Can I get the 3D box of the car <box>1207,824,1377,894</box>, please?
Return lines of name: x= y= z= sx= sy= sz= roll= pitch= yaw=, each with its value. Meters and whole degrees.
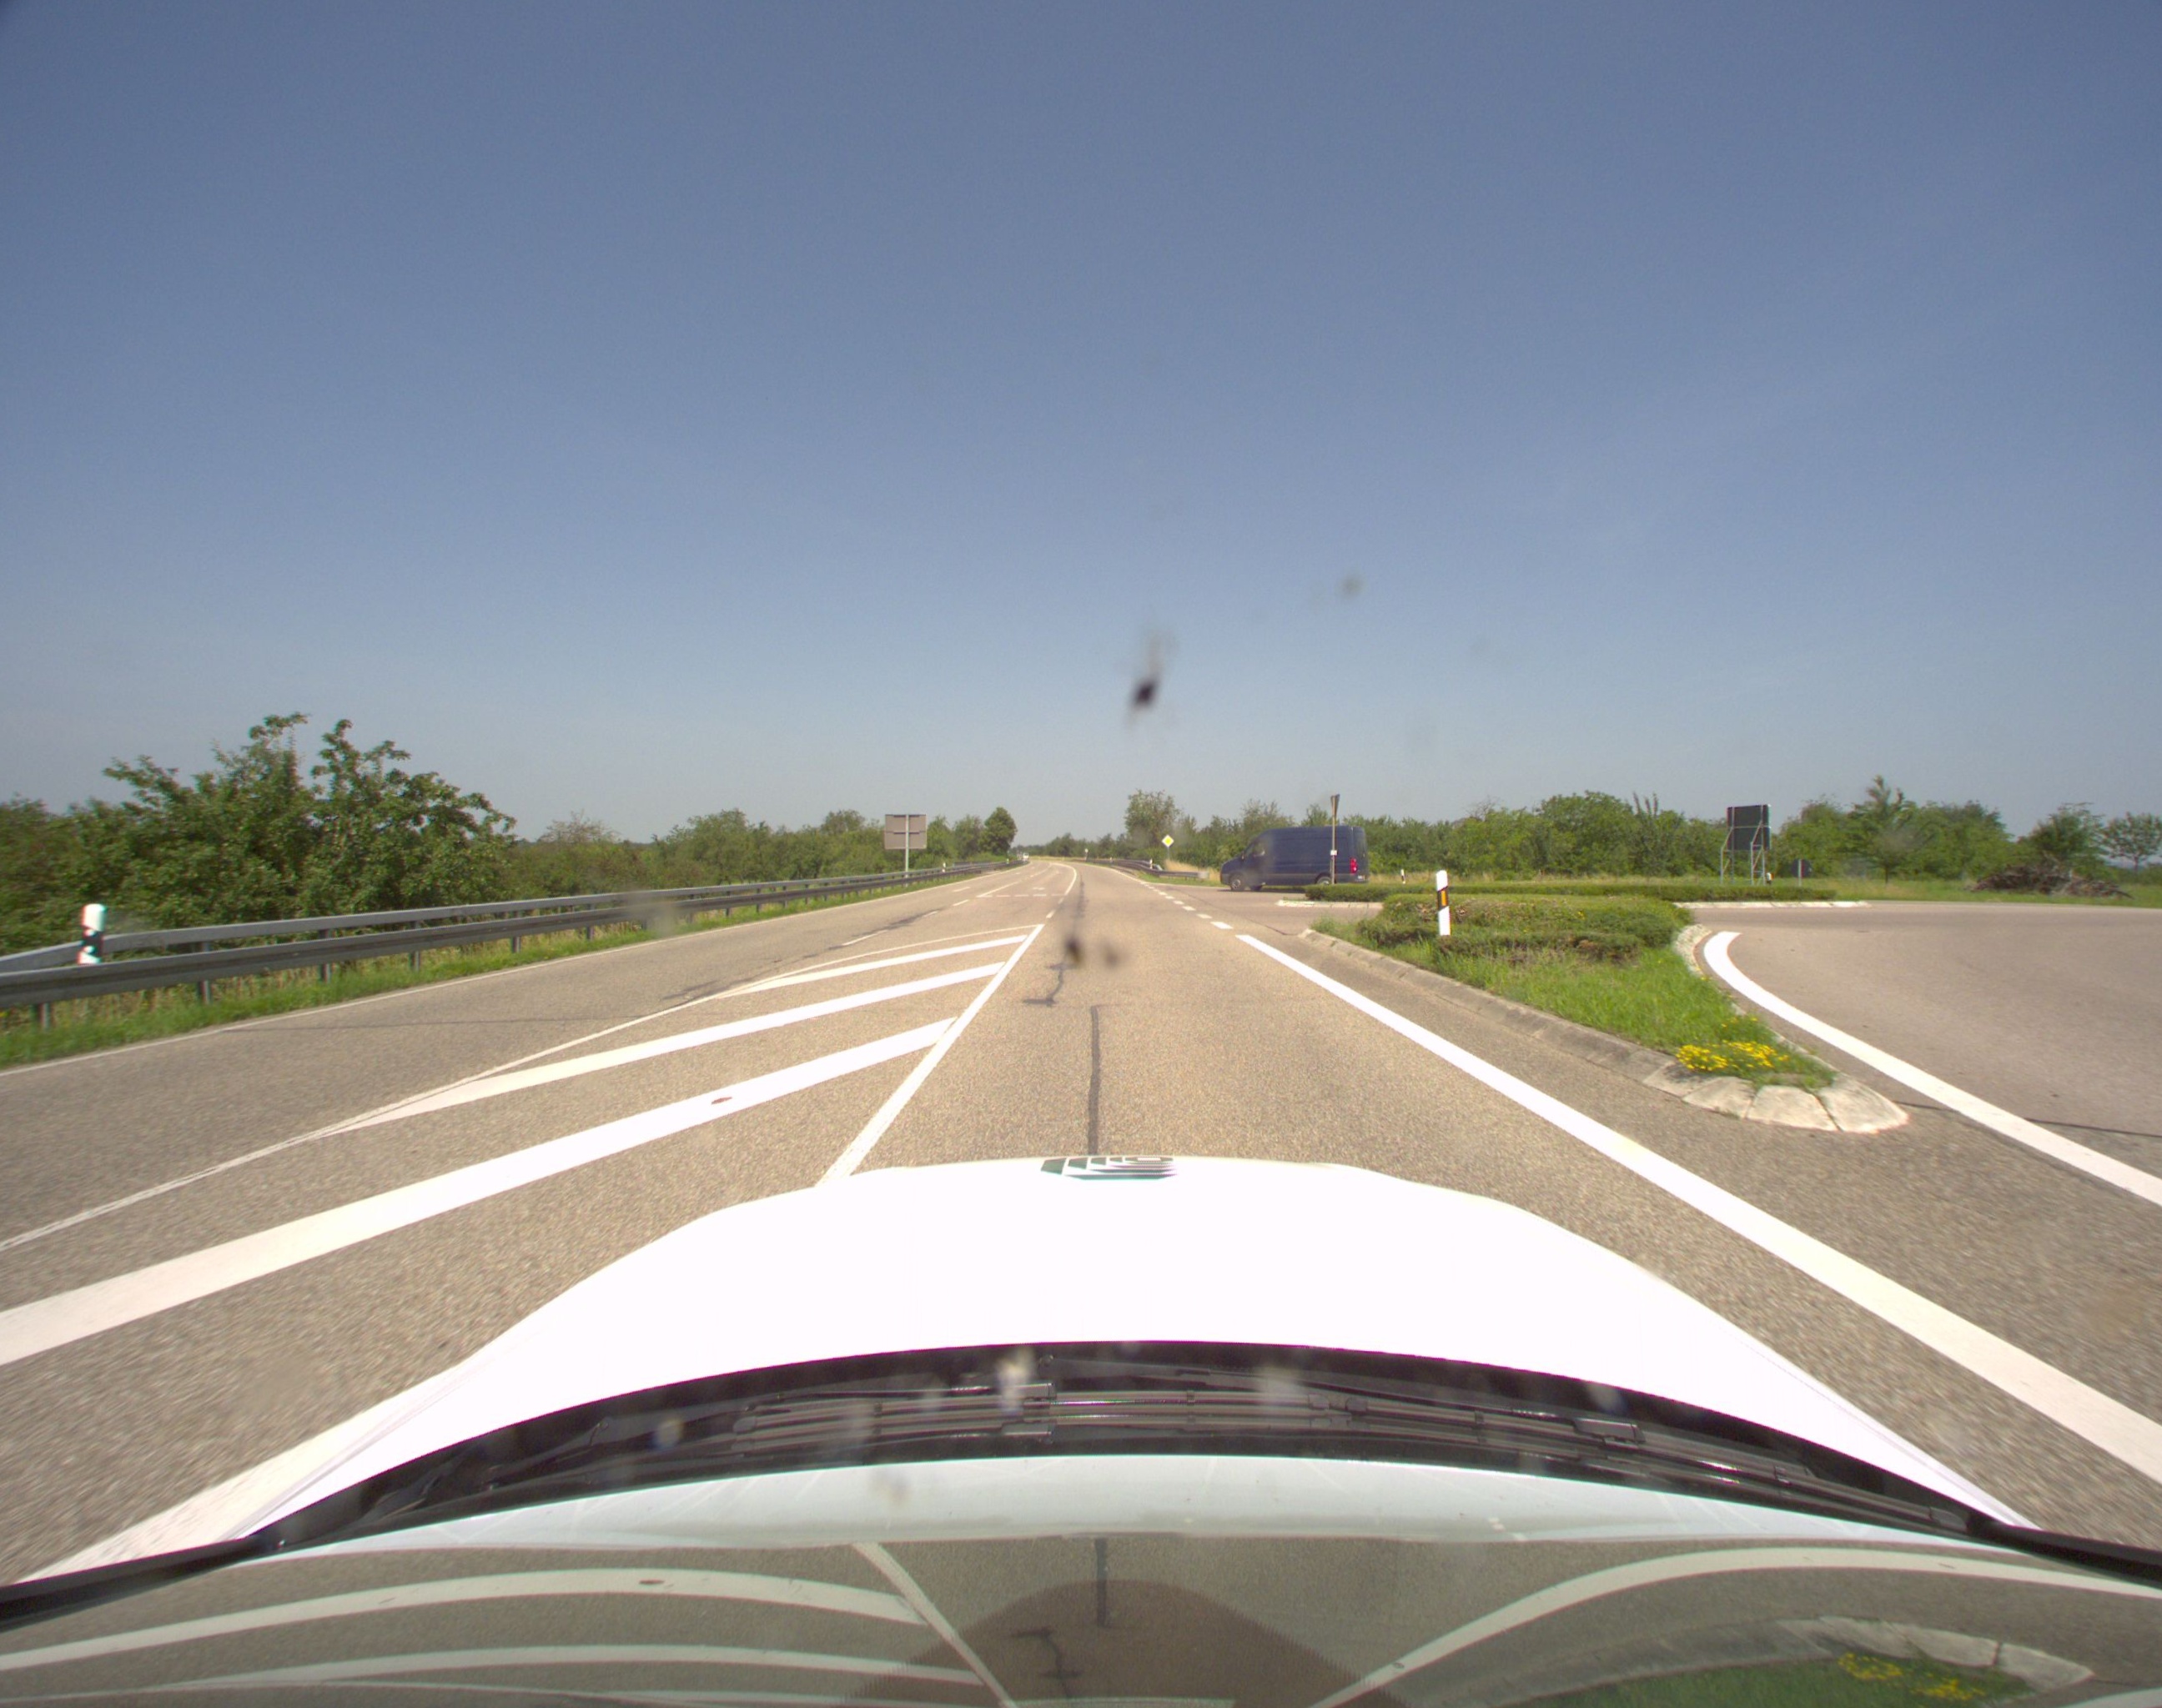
car: x=8.379 y=0.222 z=32.694 sx=6.230 sy=2.575 sz=2.075 roll=-1 pitch=-1 yaw=34
